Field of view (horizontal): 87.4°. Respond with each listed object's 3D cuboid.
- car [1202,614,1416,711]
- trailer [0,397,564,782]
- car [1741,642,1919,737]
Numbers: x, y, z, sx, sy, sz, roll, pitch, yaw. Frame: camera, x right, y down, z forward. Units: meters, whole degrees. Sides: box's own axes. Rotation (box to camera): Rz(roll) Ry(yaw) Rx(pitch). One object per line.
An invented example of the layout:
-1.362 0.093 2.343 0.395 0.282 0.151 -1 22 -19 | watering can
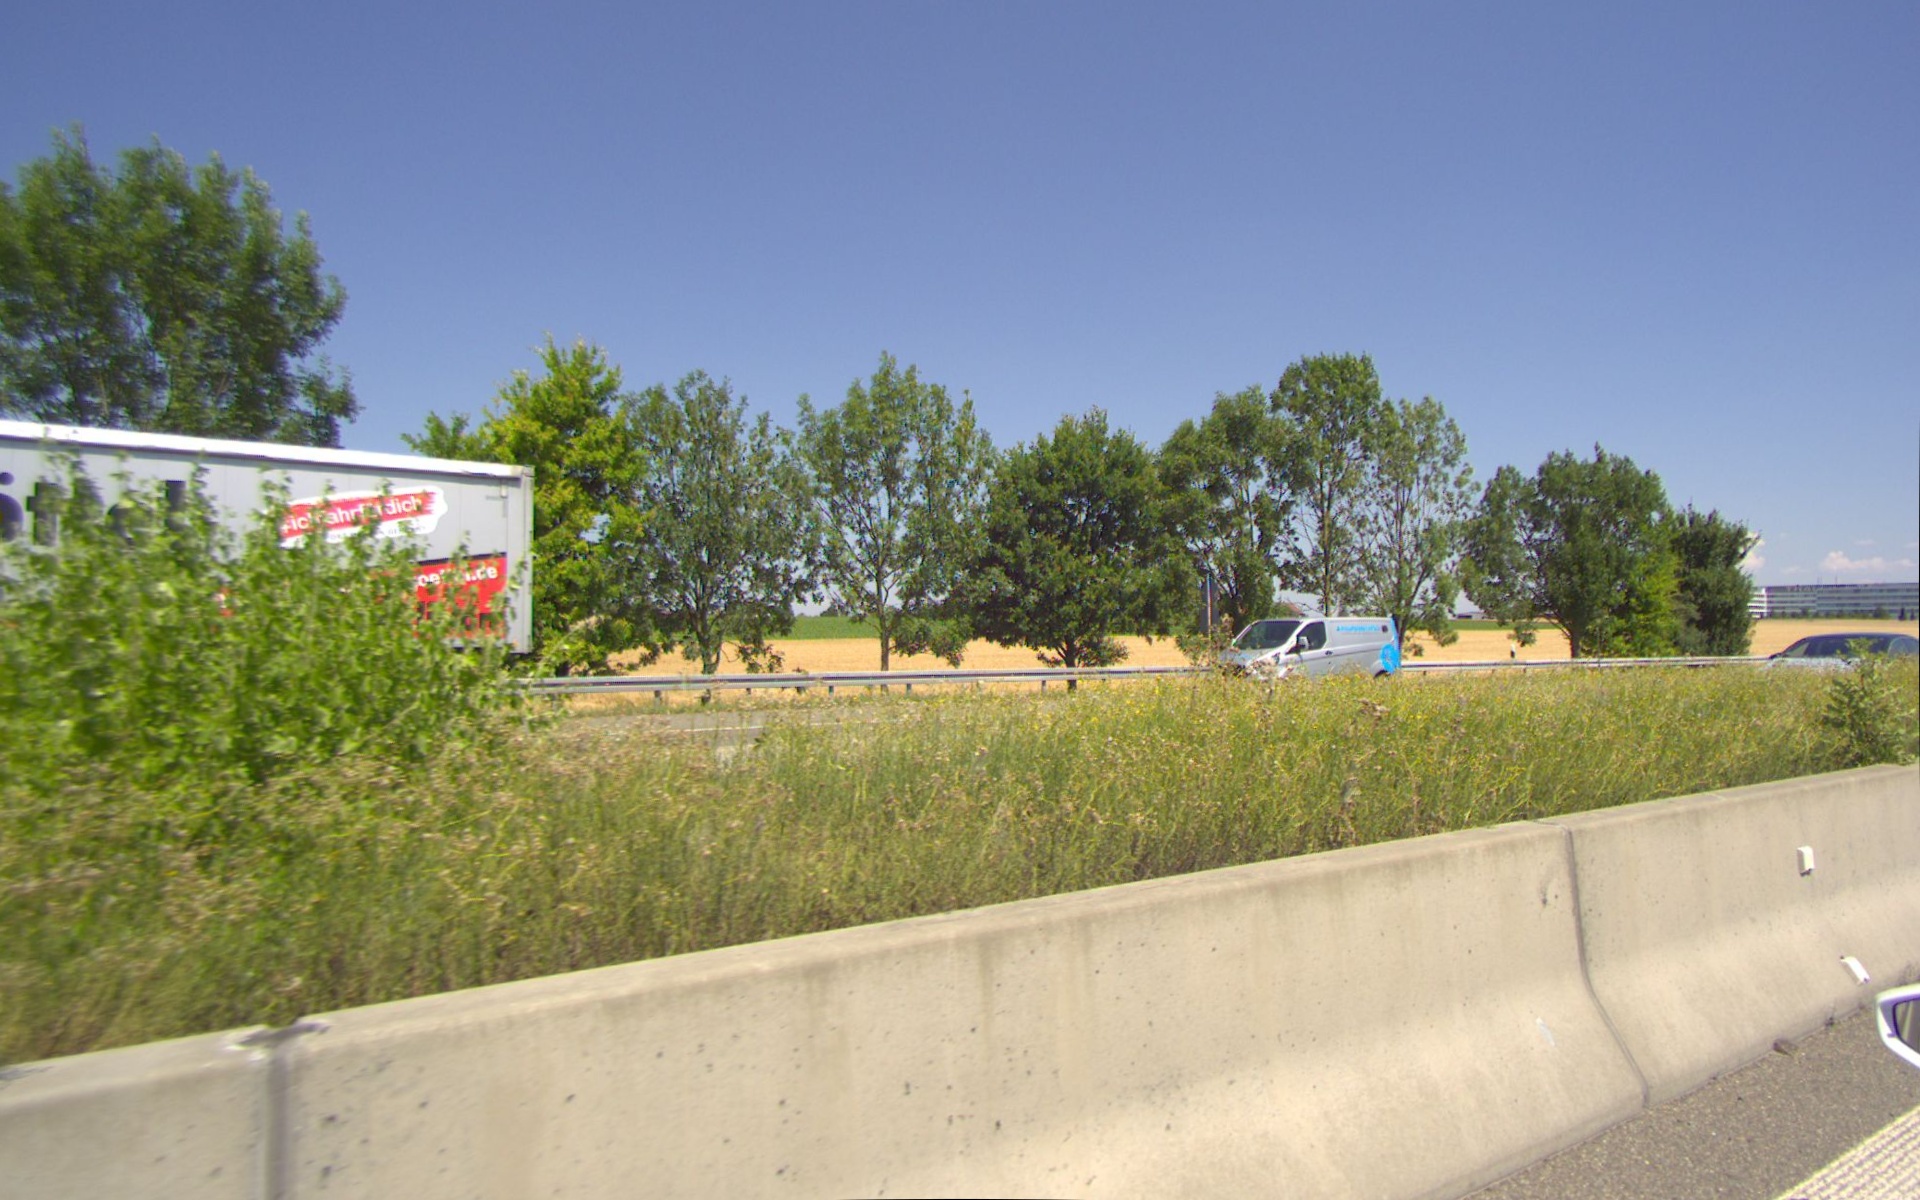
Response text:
7.926 1.356 22.664 5.060 1.978 1.753 1 -3 -32 | car
-10.998 -0.082 11.097 12.044 3.906 2.842 1 -2 -31 | trailer
16.837 1.592 18.893 4.670 1.571 1.754 1 -1 -30 | car
